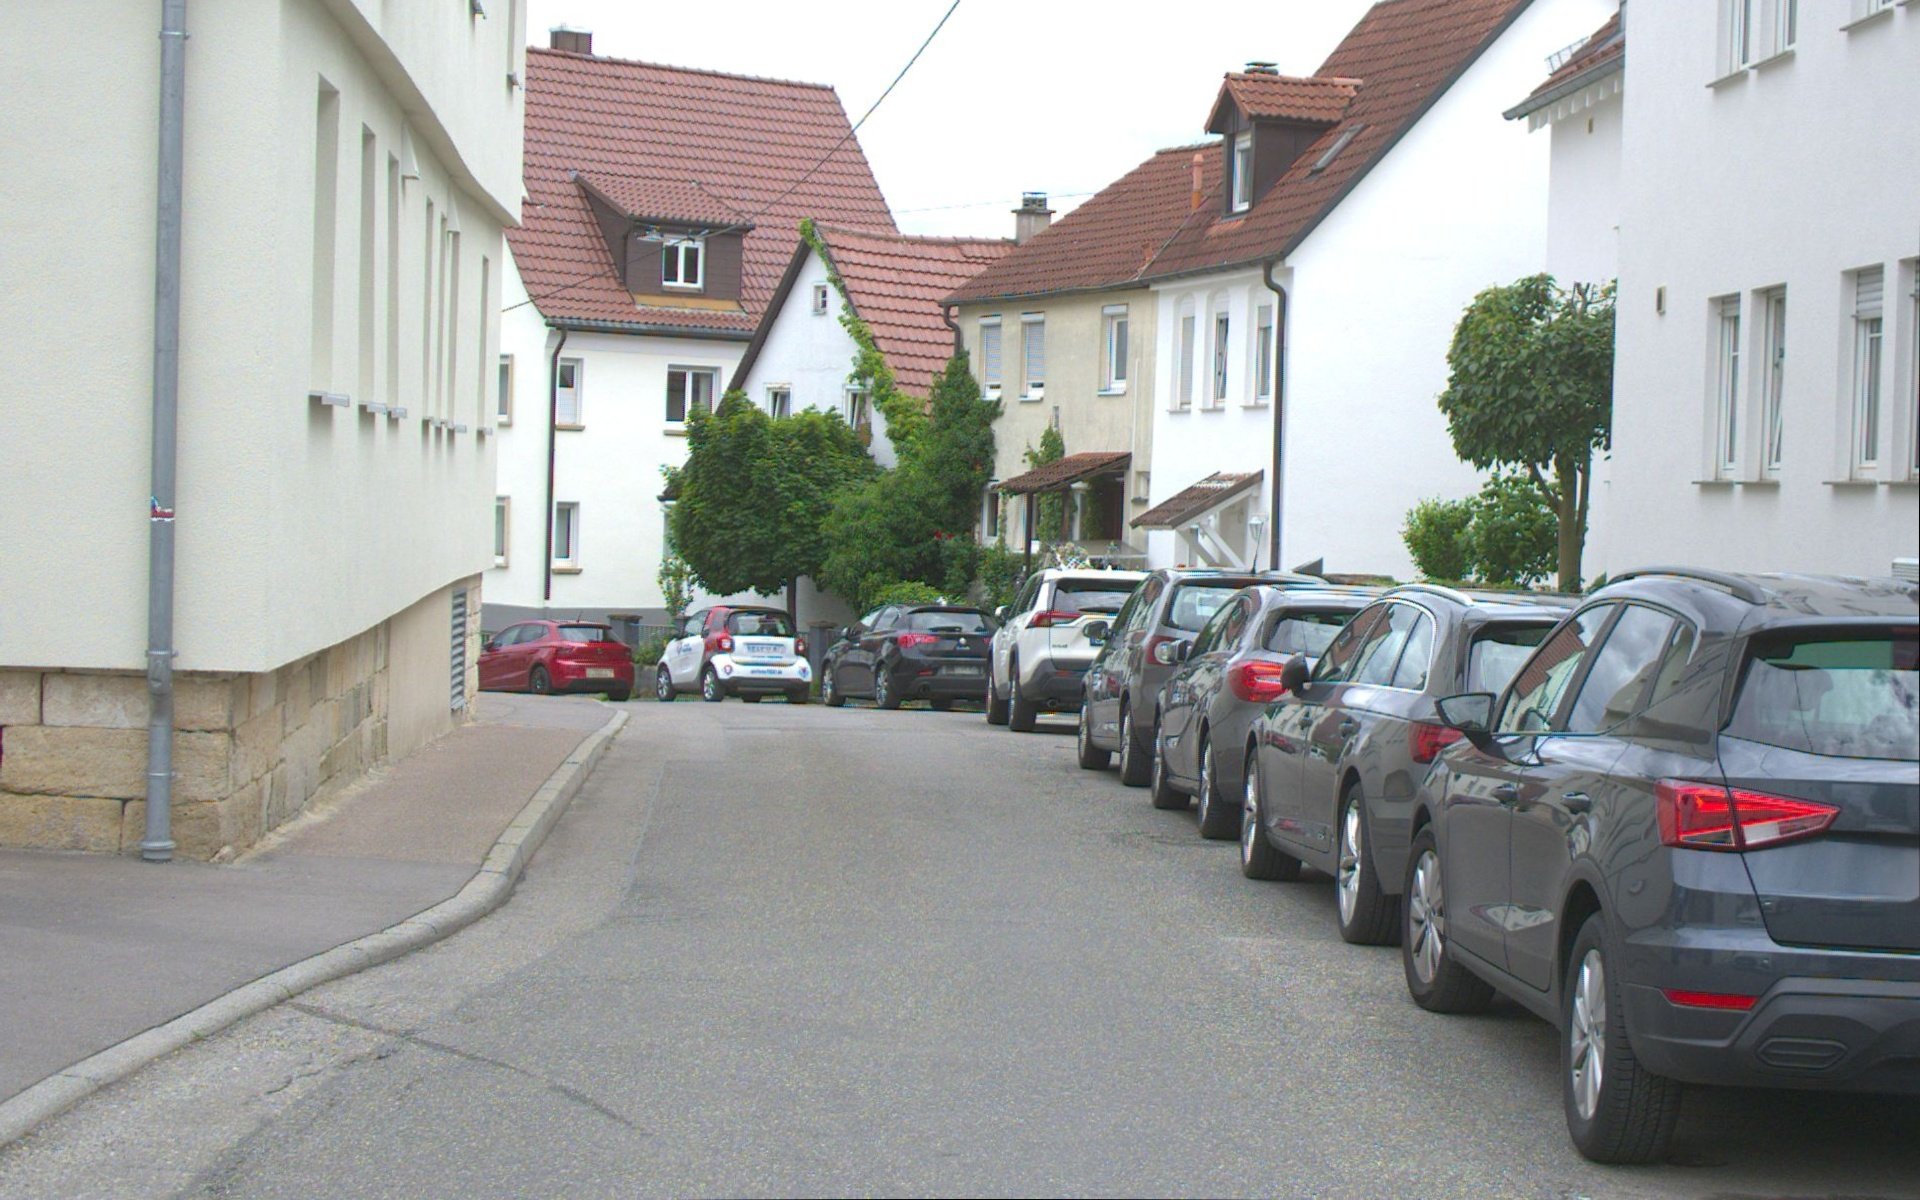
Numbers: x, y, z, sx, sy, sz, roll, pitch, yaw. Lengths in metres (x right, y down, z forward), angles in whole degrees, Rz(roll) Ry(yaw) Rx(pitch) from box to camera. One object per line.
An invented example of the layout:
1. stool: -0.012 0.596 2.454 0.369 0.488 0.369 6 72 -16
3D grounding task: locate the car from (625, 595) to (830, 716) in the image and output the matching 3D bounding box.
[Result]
1. car: -3.771 0.864 55.155 1.962 1.707 4.001 2 1 -24

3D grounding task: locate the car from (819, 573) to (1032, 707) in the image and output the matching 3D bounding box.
1. car: -0.516 0.559 46.135 1.993 1.707 4.001 1 -1 -14

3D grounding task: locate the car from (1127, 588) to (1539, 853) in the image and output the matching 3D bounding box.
1. car: 2.072 0.646 20.186 1.796 1.347 4.075 2 0 -2

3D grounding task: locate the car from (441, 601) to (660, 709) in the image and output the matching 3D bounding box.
1. car: -7.213 0.984 60.334 1.994 1.678 3.999 -5 1 -36

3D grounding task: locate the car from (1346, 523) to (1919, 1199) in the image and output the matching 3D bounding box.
1. car: 2.395 0.632 10.122 1.753 1.622 4.535 3 1 -2

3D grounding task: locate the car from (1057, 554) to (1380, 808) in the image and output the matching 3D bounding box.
1. car: 1.817 0.550 25.400 1.736 1.605 4.000 4 0 -4

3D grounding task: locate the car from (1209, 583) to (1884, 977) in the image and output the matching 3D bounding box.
1. car: 2.308 0.648 14.847 1.918 1.405 4.656 0 1 -3

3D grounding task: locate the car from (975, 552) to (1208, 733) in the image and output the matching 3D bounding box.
1. car: 1.287 0.415 35.421 1.873 1.707 4.148 2 0 -5
